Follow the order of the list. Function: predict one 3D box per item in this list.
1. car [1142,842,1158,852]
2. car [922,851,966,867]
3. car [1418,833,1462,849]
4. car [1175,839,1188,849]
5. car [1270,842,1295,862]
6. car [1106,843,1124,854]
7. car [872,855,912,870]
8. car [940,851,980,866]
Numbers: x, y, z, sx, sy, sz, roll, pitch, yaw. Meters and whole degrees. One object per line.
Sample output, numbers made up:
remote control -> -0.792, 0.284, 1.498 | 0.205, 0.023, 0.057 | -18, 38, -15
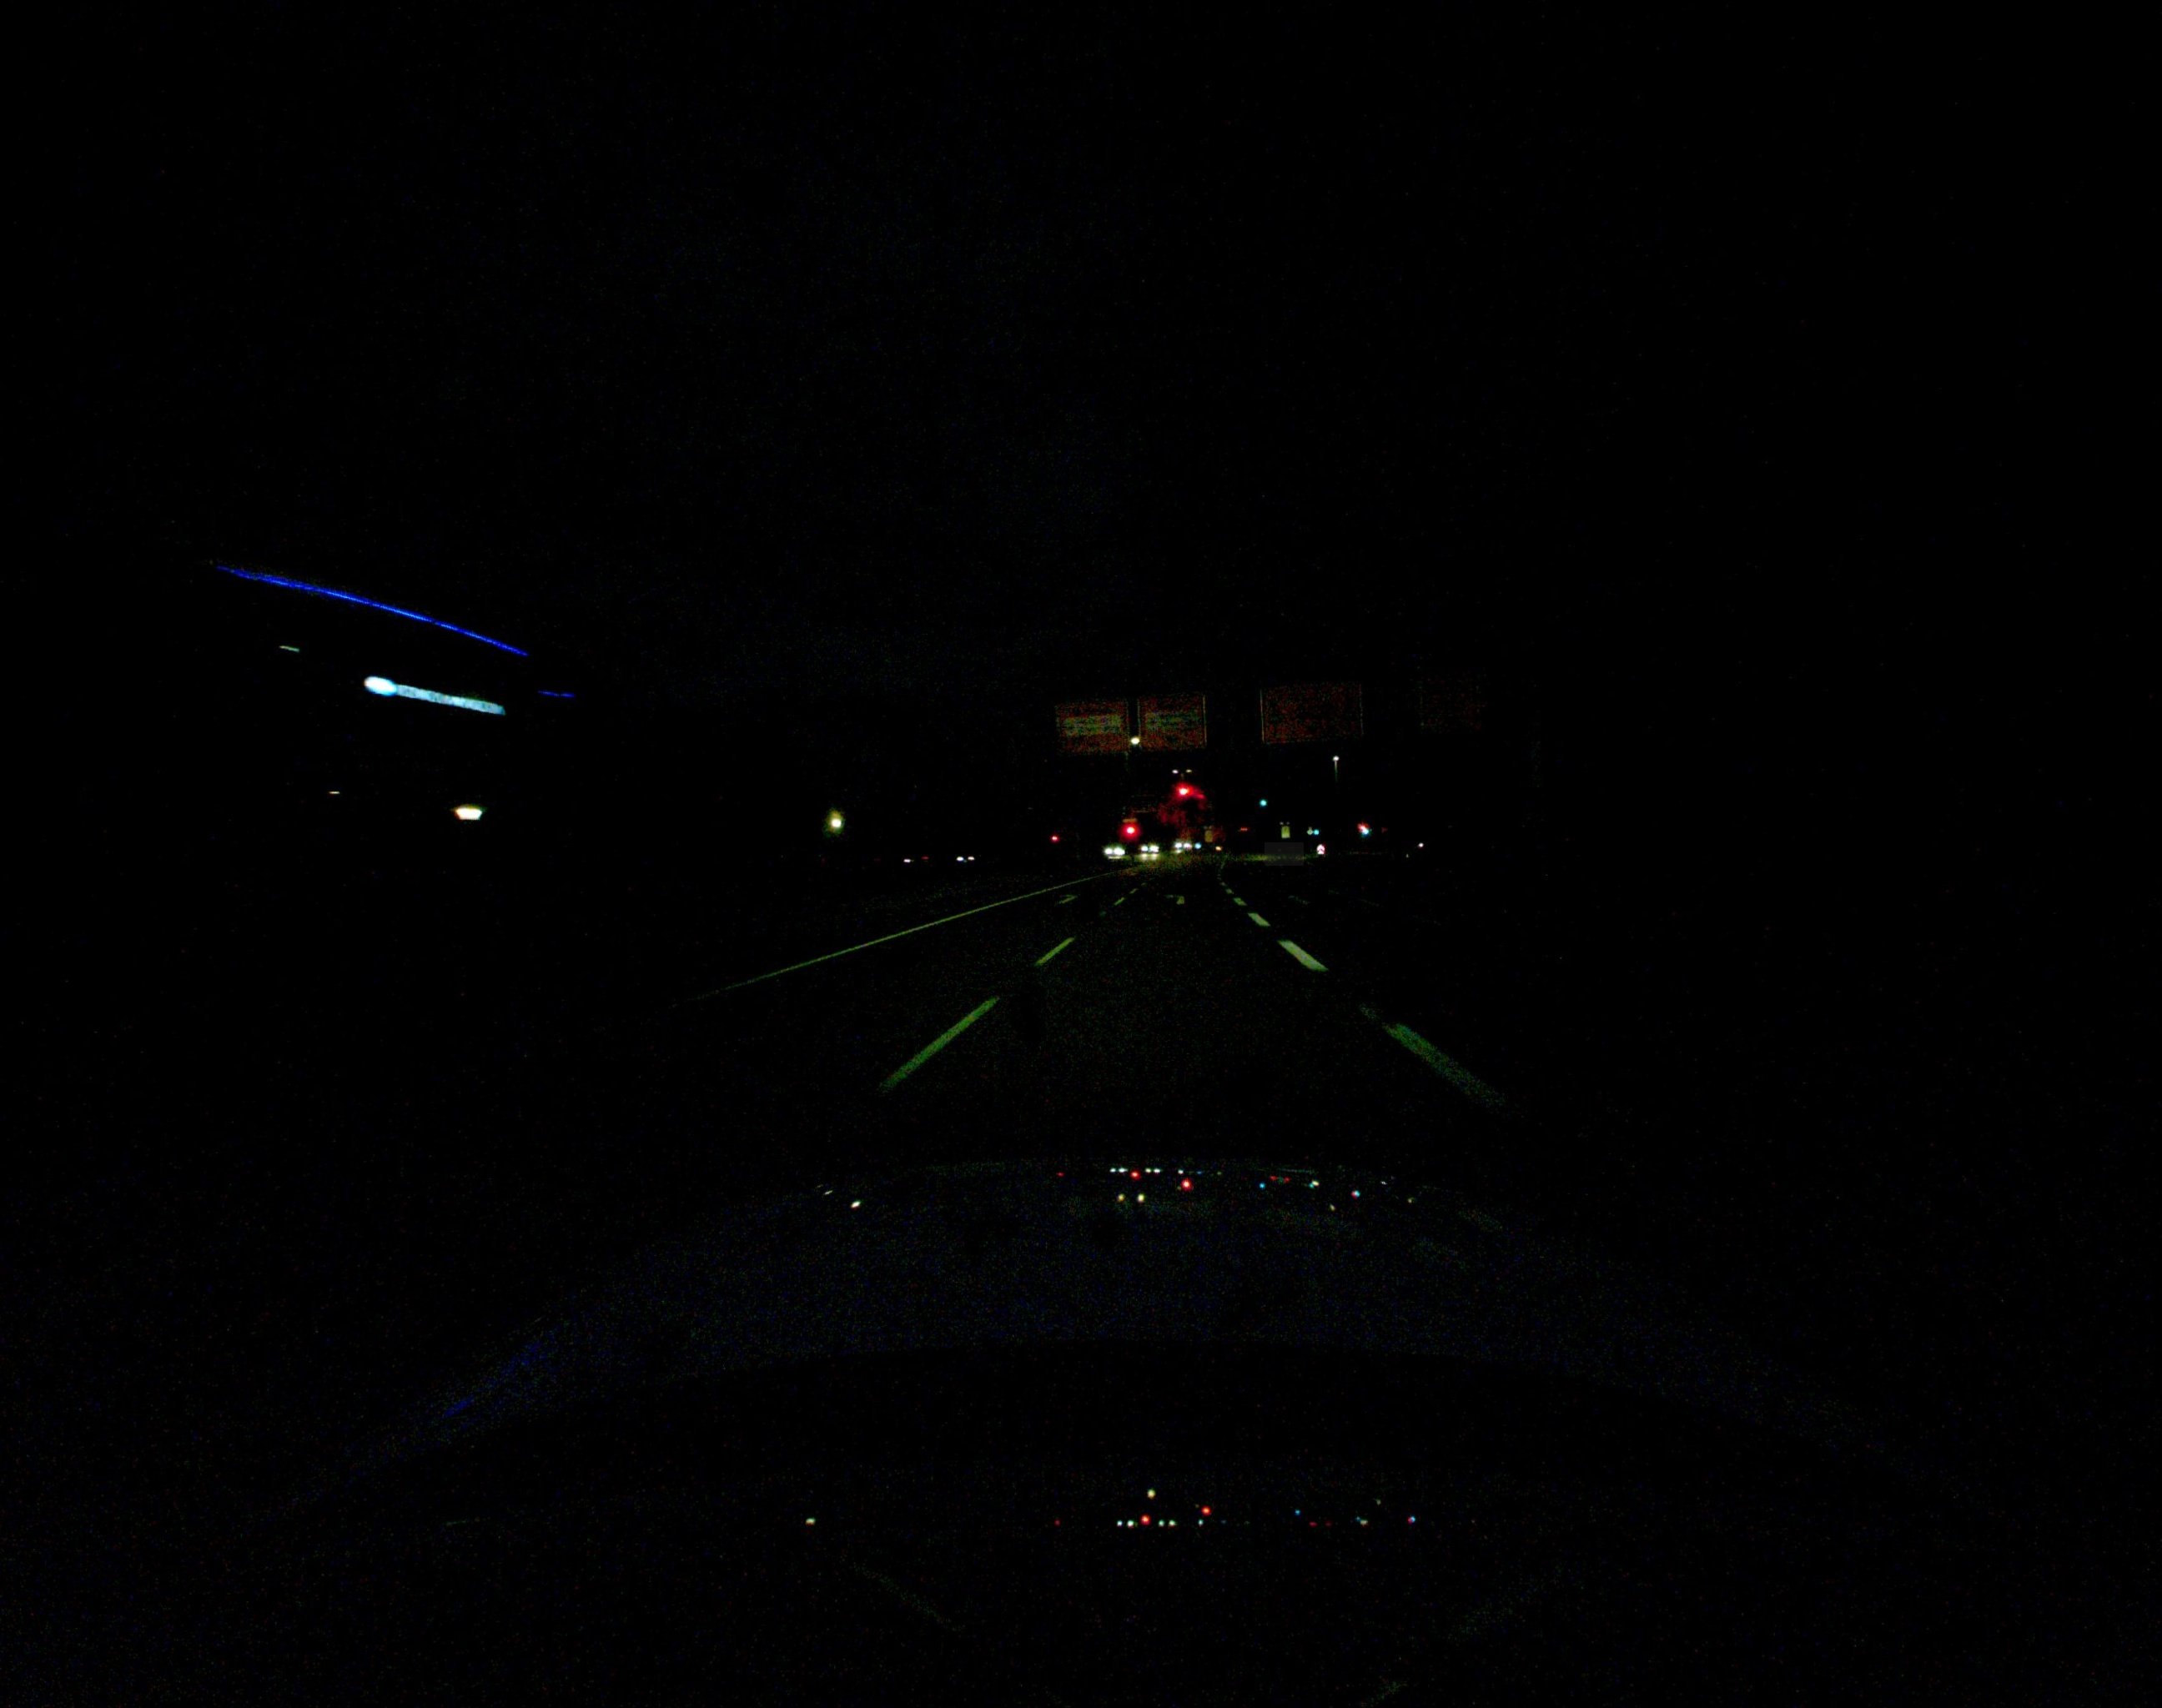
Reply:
car -> 10.973, -1.120, 129.084 | 1.981, 1.481, 4.695 | -2, 1, 10
car -> -14.797, 0.555, 88.075 | 4.287, 1.537, 1.734 | -3, 0, 9
car -> 39.332, -1.437, 89.300 | 4.051, 1.569, 2.007 | -2, 1, 7
car -> 18.274, -1.761, 147.908 | 1.981, 1.698, 4.012 | -2, 1, 10
car -> 17.981, -0.174, 72.847 | 1.993, 1.611, 3.859 | -3, 0, 13
car -> 4.950, -0.775, 117.052 | 1.981, 1.425, 4.545 | -2, 1, 10
car -> -20.860, 0.907, 89.942 | 3.968, 1.473, 1.732 | -3, 0, 4
car -> -13.618, 0.493, 91.845 | 4.018, 1.537, 1.733 | -3, 0, 7
